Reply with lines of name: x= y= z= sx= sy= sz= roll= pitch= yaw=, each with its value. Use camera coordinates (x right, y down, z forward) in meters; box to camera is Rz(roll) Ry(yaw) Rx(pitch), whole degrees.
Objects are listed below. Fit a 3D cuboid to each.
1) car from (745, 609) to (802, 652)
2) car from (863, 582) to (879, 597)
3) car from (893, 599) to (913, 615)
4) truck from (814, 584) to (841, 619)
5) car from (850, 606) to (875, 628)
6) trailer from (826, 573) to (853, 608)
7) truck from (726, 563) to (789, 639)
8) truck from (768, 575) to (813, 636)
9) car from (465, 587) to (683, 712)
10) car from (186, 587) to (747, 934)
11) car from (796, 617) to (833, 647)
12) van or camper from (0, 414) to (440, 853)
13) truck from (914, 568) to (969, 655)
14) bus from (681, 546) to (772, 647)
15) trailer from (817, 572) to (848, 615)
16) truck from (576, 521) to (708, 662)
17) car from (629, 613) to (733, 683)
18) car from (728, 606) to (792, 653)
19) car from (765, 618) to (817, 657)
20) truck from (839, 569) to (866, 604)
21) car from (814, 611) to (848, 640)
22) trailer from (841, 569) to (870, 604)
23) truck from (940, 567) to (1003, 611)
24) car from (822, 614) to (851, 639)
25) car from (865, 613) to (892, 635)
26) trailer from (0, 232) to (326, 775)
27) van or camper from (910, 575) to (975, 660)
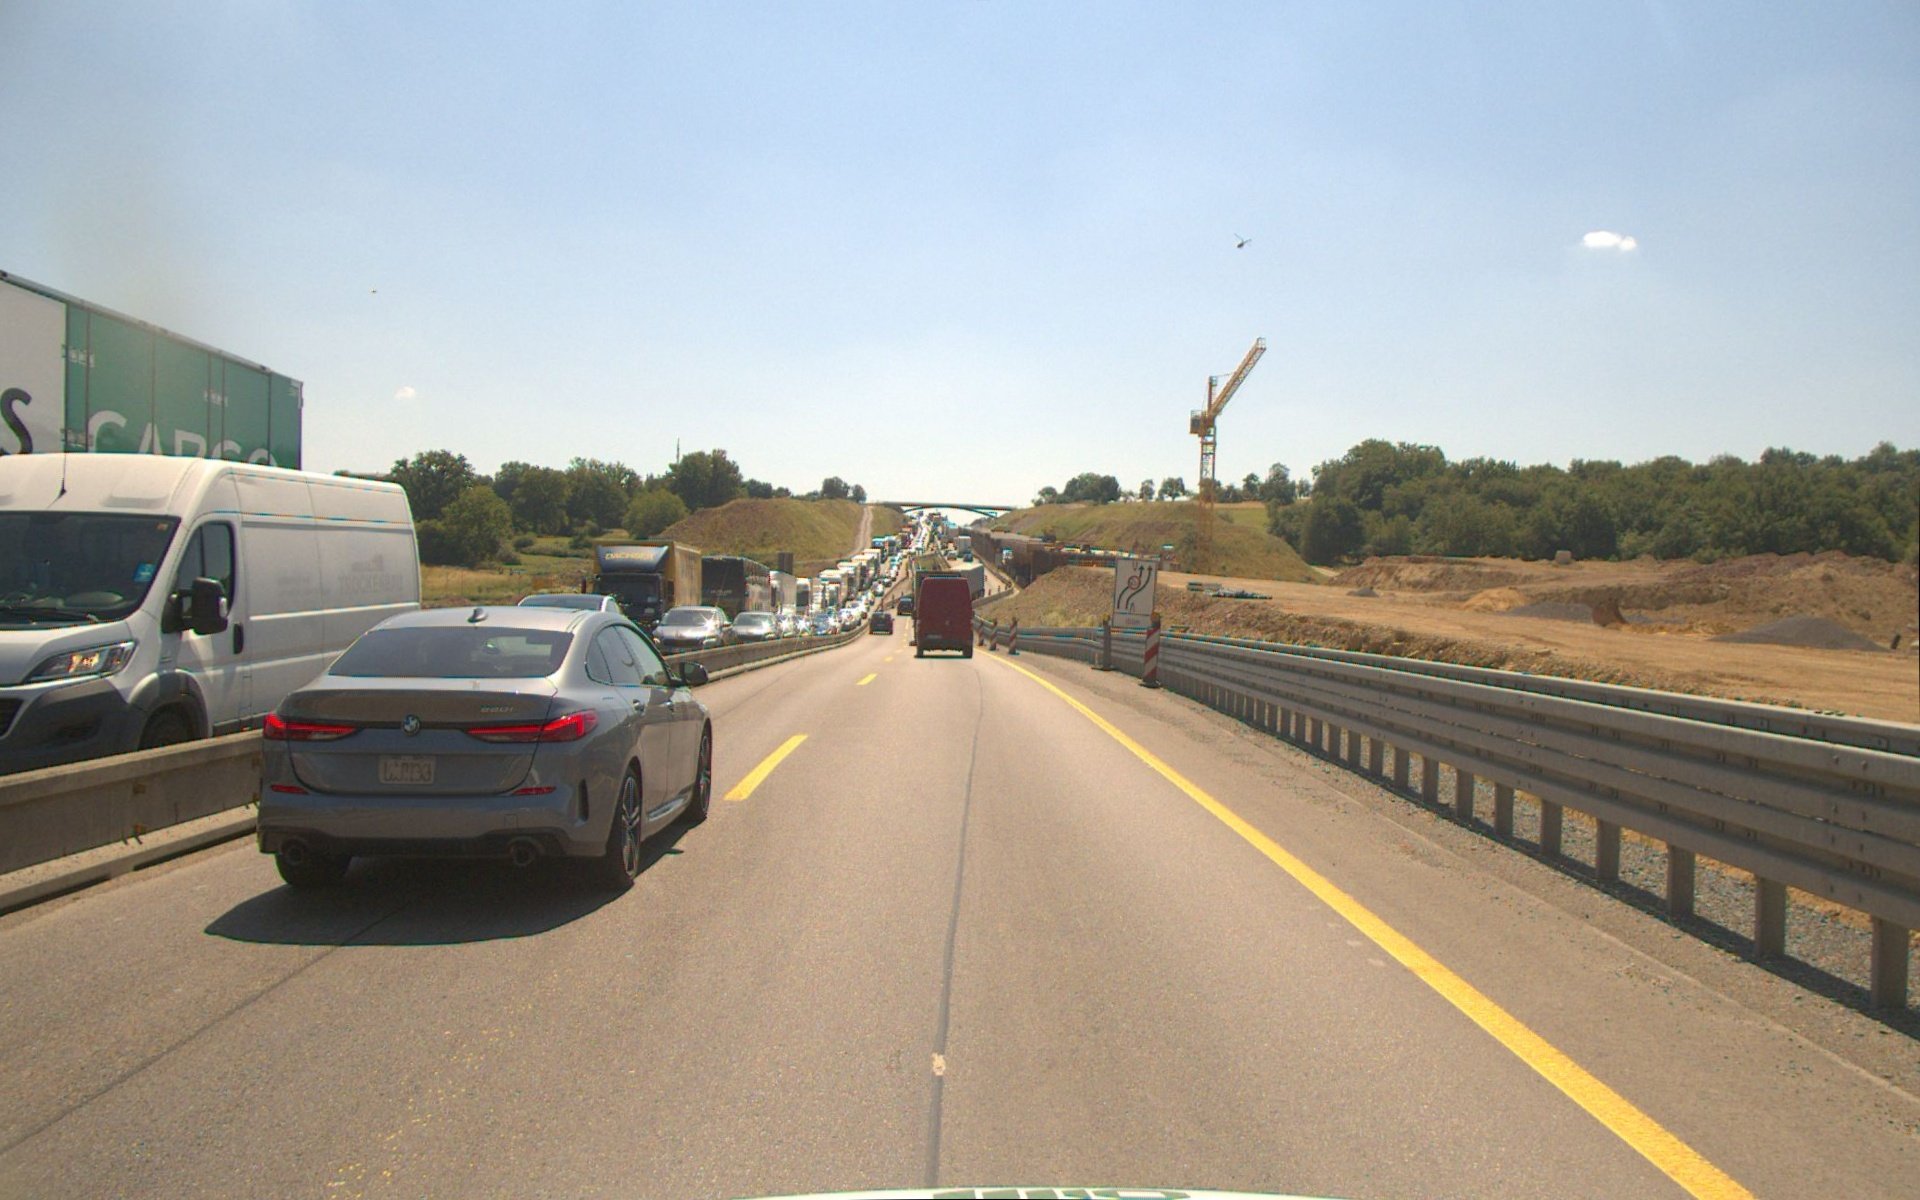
car: x=-7.241 y=1.159 z=64.588 sx=1.801 sy=1.469 sz=4.928 roll=2 pitch=1 yaw=-2
car: x=-11.494 y=-1.362 z=212.648 sx=1.954 sy=1.814 sz=3.998 roll=2 pitch=1 yaw=-4
car: x=-5.933 y=0.709 z=171.945 sx=1.971 sy=1.572 sz=4.131 roll=2 pitch=1 yaw=-2
truck: x=-12.804 y=0.085 z=159.792 sx=2.385 sy=3.203 sz=7.020 roll=0 pitch=1 yaw=-3
car: x=-8.497 y=1.481 z=144.303 sx=1.954 sy=1.583 sz=4.337 roll=5 pitch=1 yaw=-3
trailer: x=-14.280 y=-1.096 z=197.239 sx=2.727 sy=4.000 sz=11.003 roll=1 pitch=0 yaw=-2
truck: x=-11.736 y=0.059 z=96.492 sx=3.035 sy=4.271 sz=6.698 roll=1 pitch=0 yaw=-3
truck: x=-12.191 y=0.391 z=119.478 sx=2.918 sy=4.258 sz=5.869 roll=1 pitch=0 yaw=-4
car: x=-6.222 y=0.712 z=27.463 sx=2.323 sy=1.756 sz=5.780 roll=2 pitch=1 yaw=-1
car: x=-2.515 y=0.700 z=9.767 sx=1.814 sy=1.477 sz=4.742 roll=2 pitch=1 yaw=0
car: x=-8.030 y=1.757 z=91.419 sx=1.776 sy=1.462 sz=5.118 roll=2 pitch=1 yaw=-3
van or camper: x=-6.142 y=0.135 z=12.933 sx=2.174 sy=2.555 sz=6.531 roll=2 pitch=1 yaw=-2
truck: x=-1.010 y=0.608 z=95.271 sx=2.958 sy=4.775 sz=6.932 roll=-1 pitch=0 yaw=0
bus: x=-10.977 y=-0.251 z=79.296 sx=2.684 sy=4.338 sz=14.471 roll=2 pitch=1 yaw=-2
trailer: x=-13.383 y=-0.735 z=174.591 sx=2.542 sy=4.331 sz=12.464 roll=1 pitch=0 yaw=-1
truck: x=-10.488 y=-0.180 z=55.624 sx=2.746 sy=4.225 sz=10.073 roll=2 pitch=-1 yaw=-2
car: x=-6.872 y=1.141 z=41.216 sx=1.844 sy=1.457 sz=5.123 roll=2 pitch=1 yaw=-2
car: x=-6.937 y=1.006 z=57.744 sx=1.822 sy=1.520 sz=4.901 roll=-1 pitch=0 yaw=-3
car: x=-7.425 y=1.627 z=73.114 sx=1.879 sy=1.448 sz=5.089 roll=2 pitch=1 yaw=-2
truck: x=-14.328 y=-1.816 z=220.968 sx=2.989 sy=4.558 sz=5.982 roll=1 pitch=1 yaw=2
car: x=-8.256 y=1.612 z=106.181 sx=1.953 sy=1.648 sz=4.880 roll=2 pitch=1 yaw=-2
trailer: x=-14.280 y=-1.920 z=226.339 sx=2.980 sy=4.631 sz=12.129 roll=1 pitch=1 yaw=1
truck: x=1.534 y=-1.357 z=201.521 sx=5.050 sy=5.084 sz=13.888 roll=2 pitch=1 yaw=11
car: x=-9.203 y=2.000 z=123.802 sx=1.954 sy=1.659 sz=4.756 roll=2 pitch=1 yaw=-3
car: x=-6.153 y=1.801 z=124.993 sx=1.972 sy=1.572 sz=4.130 roll=1 pitch=0 yaw=-3
trailer: x=-9.348 y=-0.796 z=14.376 sx=2.758 sy=4.508 sz=13.165 roll=0 pitch=0 yaw=-1
van or camper: x=-0.641 y=0.575 z=57.162 sx=1.989 sy=2.792 sz=4.512 roll=1 pitch=0 yaw=-3
